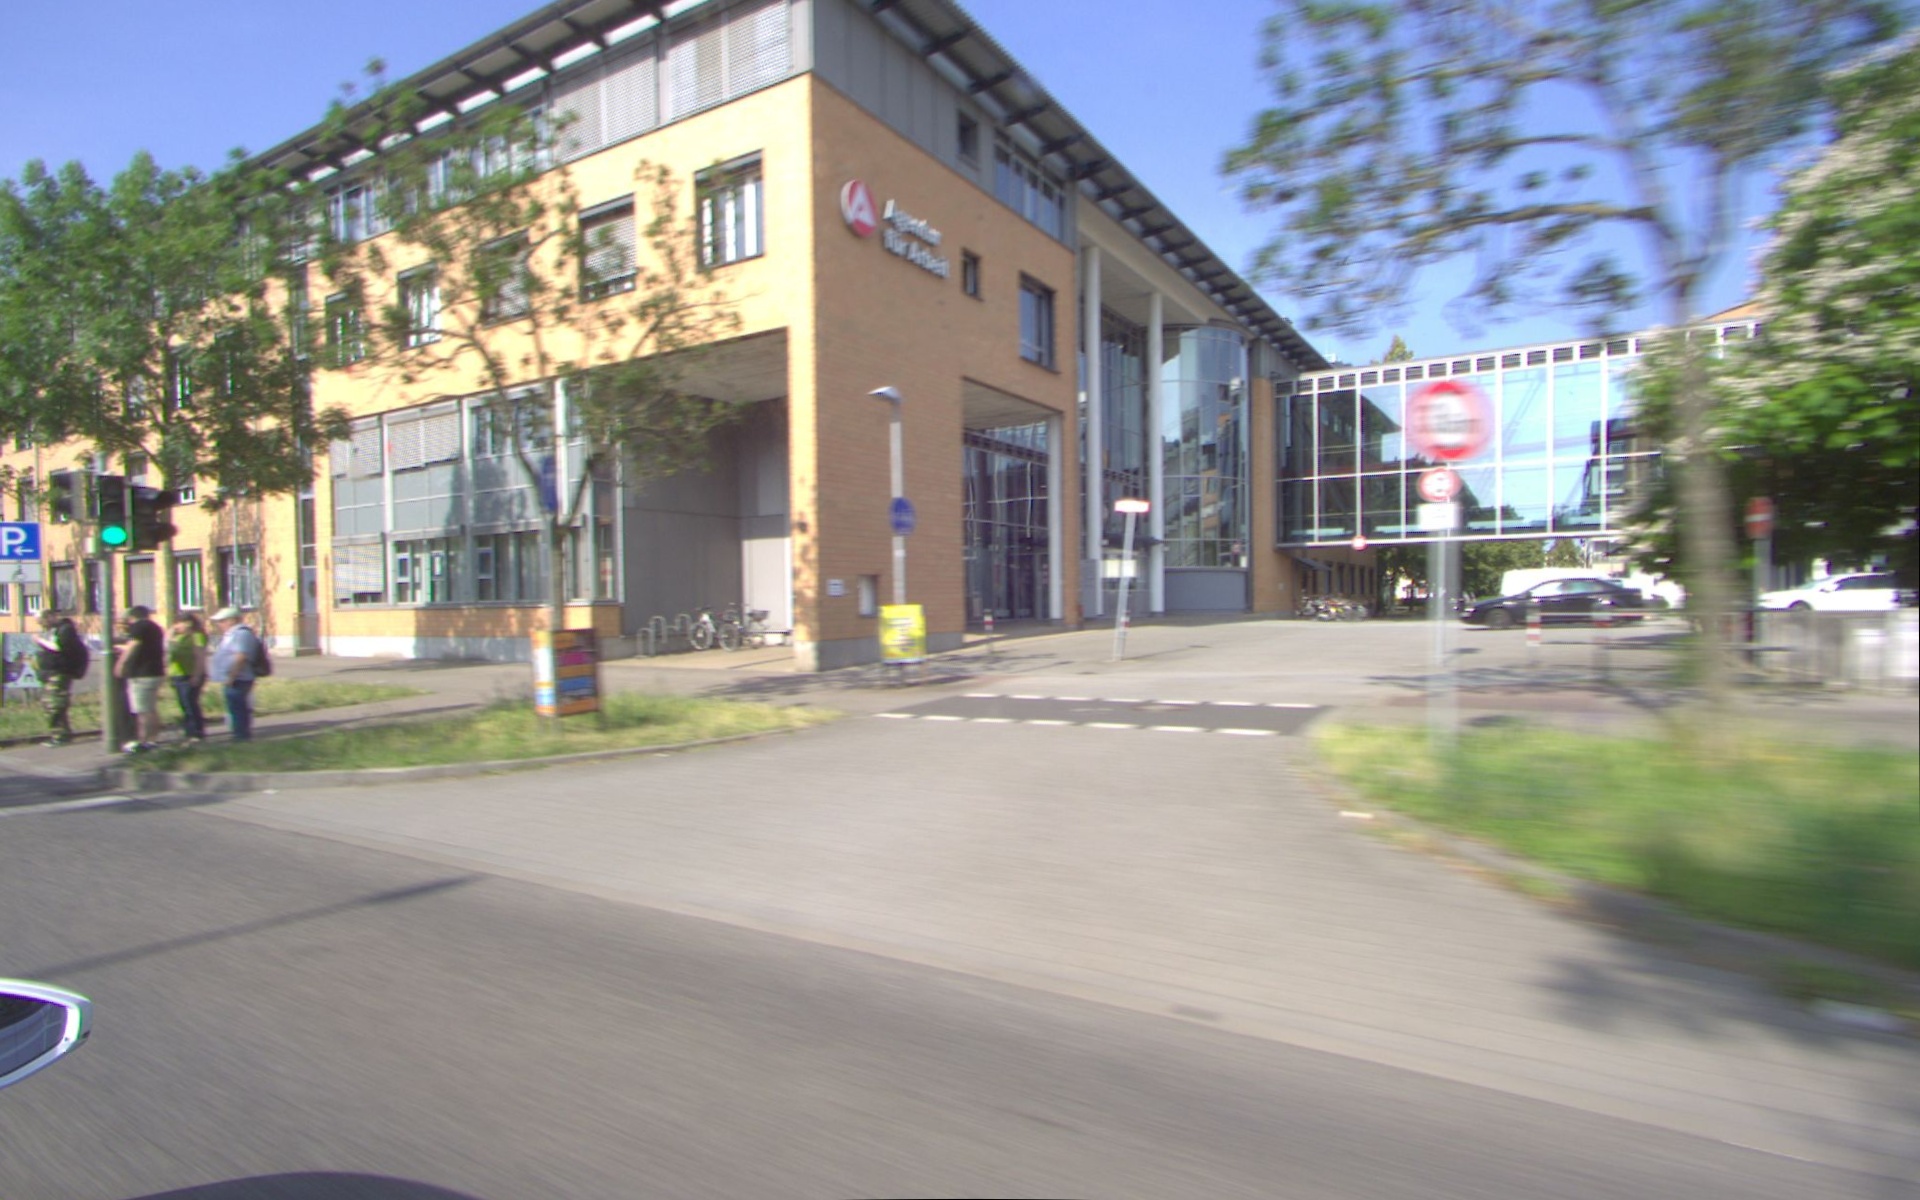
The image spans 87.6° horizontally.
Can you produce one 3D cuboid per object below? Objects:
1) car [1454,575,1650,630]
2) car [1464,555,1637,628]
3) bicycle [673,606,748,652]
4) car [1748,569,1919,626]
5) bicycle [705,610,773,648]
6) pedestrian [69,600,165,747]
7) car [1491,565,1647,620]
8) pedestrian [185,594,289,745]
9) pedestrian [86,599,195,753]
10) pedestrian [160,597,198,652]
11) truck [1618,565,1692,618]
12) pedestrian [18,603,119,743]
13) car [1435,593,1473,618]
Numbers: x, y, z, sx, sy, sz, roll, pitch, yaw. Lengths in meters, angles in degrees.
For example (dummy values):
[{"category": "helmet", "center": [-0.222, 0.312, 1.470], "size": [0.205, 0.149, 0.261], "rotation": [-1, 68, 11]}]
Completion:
[{"category": "car", "center": [16.561, 0.124, 28.206], "size": [4.638, 1.417, 1.592], "rotation": [-1, -2, 32]}, {"category": "car", "center": [17.949, -0.197, 30.581], "size": [4.396, 2.039, 1.991], "rotation": [-1, -2, 32]}, {"category": "bicycle", "center": [-6.078, 0.699, 24.369], "size": [1.811, 1.056, 0.649], "rotation": [-1, 3, 32]}, {"category": "car", "center": [24.985, -0.039, 28.001], "size": [4.287, 1.503, 1.689], "rotation": [-1, -2, 22]}, {"category": "bicycle", "center": [-5.542, 0.727, 25.116], "size": [1.811, 0.901, 0.526], "rotation": [-1, 0, 32]}, {"category": "pedestrian", "center": [-10.023, 0.853, 11.920], "size": [0.599, 1.669, 0.633], "rotation": [-1, 2, 28]}, {"category": "car", "center": [20.302, -0.199, 33.518], "size": [4.356, 1.661, 1.764], "rotation": [-1, -2, 32]}, {"category": "pedestrian", "center": [-8.420, 0.782, 11.674], "size": [0.679, 1.669, 0.704], "rotation": [-1, 2, 30]}, {"category": "pedestrian", "center": [-9.367, 0.844, 11.460], "size": [0.679, 1.669, 0.704], "rotation": [-1, 2, 30]}, {"category": "pedestrian", "center": [-24.538, 0.772, 31.453], "size": [0.762, 1.677, 0.695], "rotation": [-1, -2, 32]}, {"category": "truck", "center": [36.549, -0.367, 52.600], "size": [5.952, 2.518, 2.044], "rotation": [2, -3, -44]}, {"category": "pedestrian", "center": [-11.187, 0.893, 12.570], "size": [0.679, 1.669, 0.704], "rotation": [-1, 2, 30]}, {"category": "car", "center": [32.429, 0.376, 65.674], "size": [1.824, 1.503, 4.140], "rotation": [-1, -2, 32]}]
